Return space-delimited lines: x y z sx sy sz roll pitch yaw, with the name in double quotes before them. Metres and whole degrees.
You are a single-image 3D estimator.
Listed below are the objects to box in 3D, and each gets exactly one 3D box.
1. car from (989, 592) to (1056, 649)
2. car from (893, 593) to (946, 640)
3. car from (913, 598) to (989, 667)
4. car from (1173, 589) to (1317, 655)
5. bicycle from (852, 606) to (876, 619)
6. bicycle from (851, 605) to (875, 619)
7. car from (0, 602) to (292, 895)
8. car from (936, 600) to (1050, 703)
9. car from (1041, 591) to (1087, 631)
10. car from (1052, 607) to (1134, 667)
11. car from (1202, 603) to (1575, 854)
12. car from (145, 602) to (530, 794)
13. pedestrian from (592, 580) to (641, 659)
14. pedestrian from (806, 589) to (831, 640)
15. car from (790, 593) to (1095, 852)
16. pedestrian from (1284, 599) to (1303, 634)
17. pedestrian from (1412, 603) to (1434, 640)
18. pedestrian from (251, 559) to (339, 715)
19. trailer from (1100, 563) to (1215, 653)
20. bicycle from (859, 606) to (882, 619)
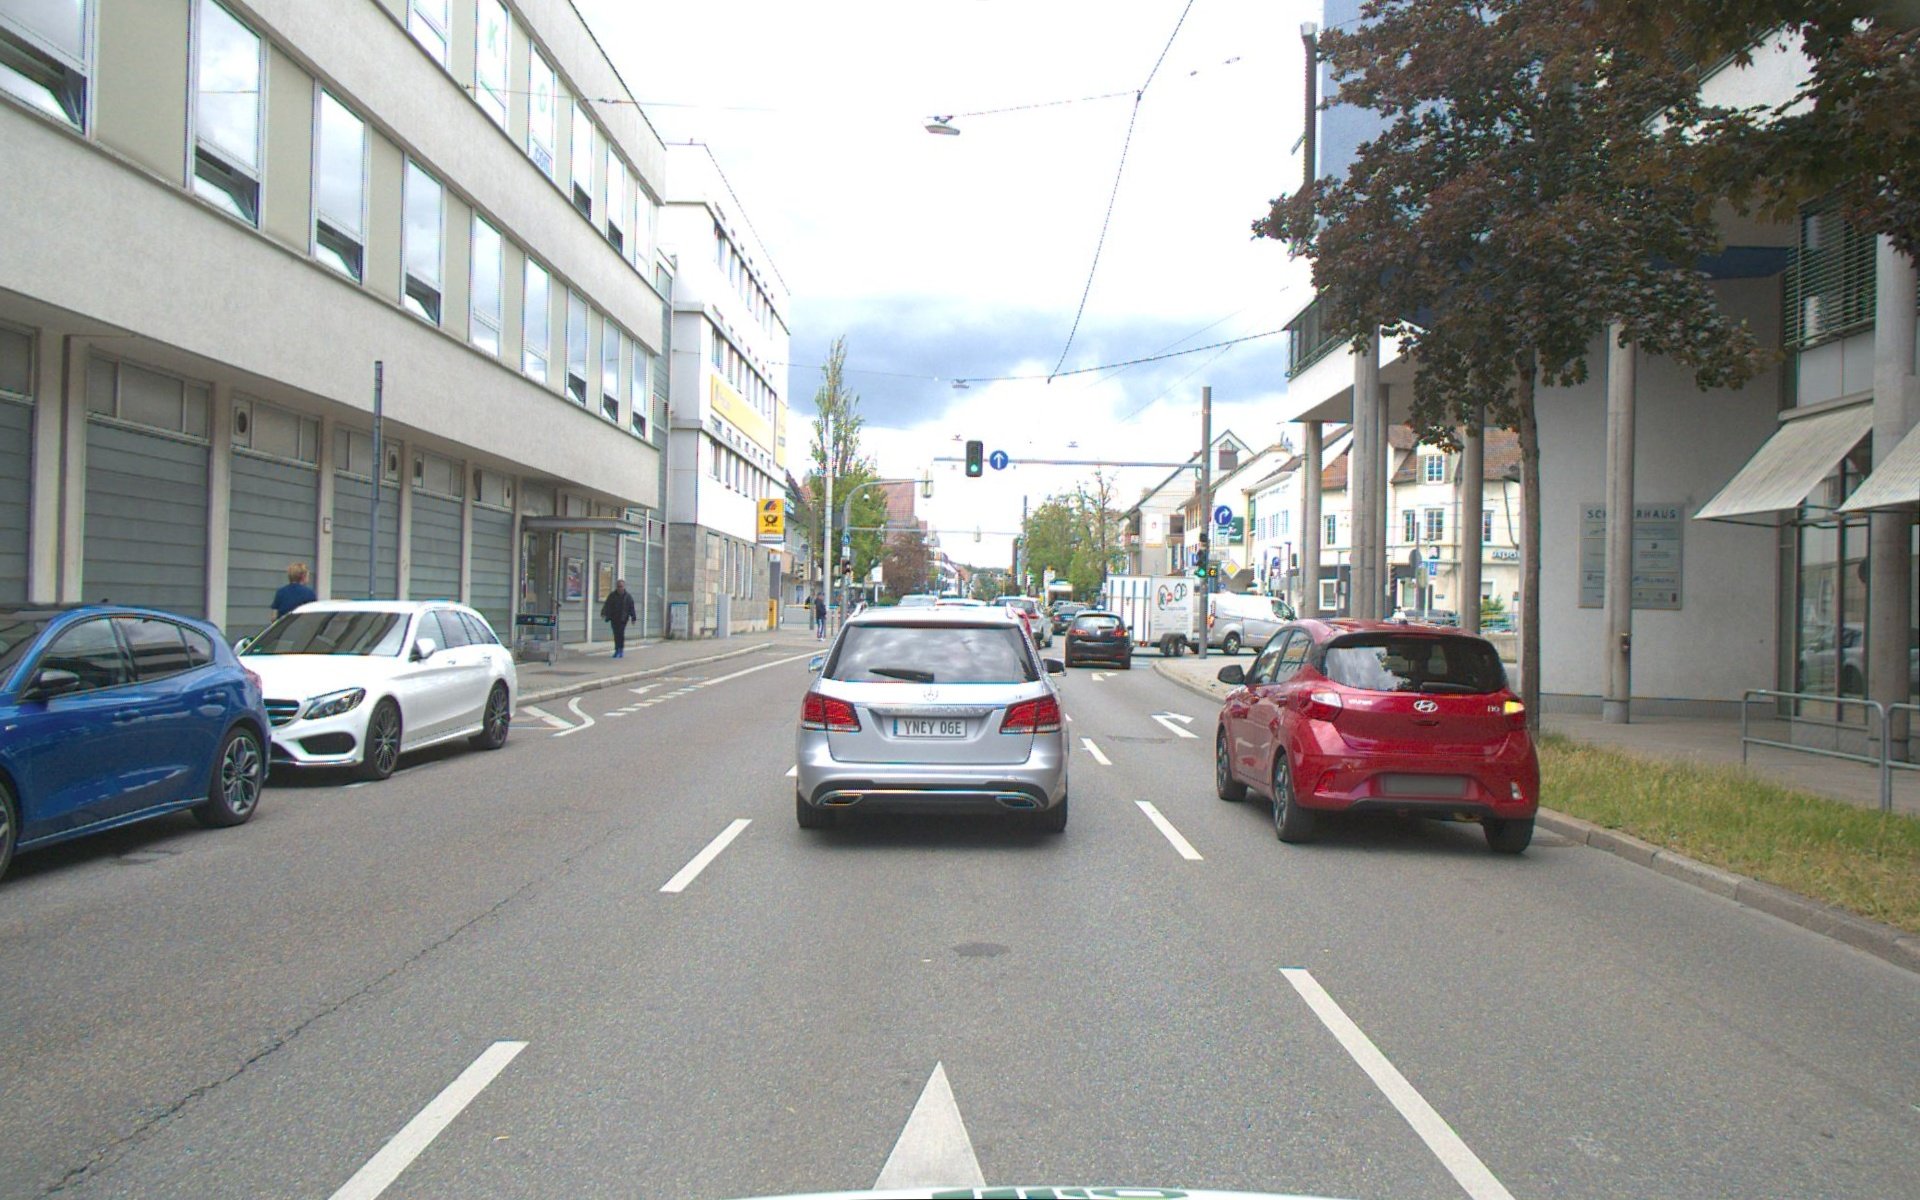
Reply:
"car" 2.119 0.663 55.317 1.697 1.790 4.003 1 0 10
"car" -1.459 0.583 60.752 1.739 1.660 4.768 0 0 1
"car" -0.261 0.735 39.321 1.699 1.534 3.999 1 0 -2
"car" 9.727 0.761 56.320 4.845 1.979 1.862 4 0 -34
"bicycle" -7.947 1.016 136.520 1.902 1.047 0.529 2 -1 -9
"bicycle" -8.075 1.014 137.181 1.902 1.047 0.529 2 -1 -9
"car" -5.623 0.753 9.331 1.777 1.451 4.266 -1 0 3
"car" 0.528 0.777 26.980 1.698 1.534 4.000 1 0 1
"car" 4.872 0.501 77.769 1.791 1.816 3.999 1 0 -1
"car" 3.429 0.927 43.295 1.699 1.435 3.999 1 0 -2
"car" 2.991 0.814 12.400 1.664 1.477 3.999 3 0 -1
"car" -5.418 0.767 15.092 1.635 1.459 4.554 -1 0 2
"pedestrian" -7.770 0.438 37.476 0.844 1.748 1.031 2 0 -2
"pedestrian" -4.884 0.505 57.240 0.634 1.748 0.783 2 0 8
"car" -0.152 0.734 11.991 1.808 1.534 4.170 1 0 -2
"pedestrian" 16.880 0.851 83.691 0.696 1.748 0.642 1 0 -34
"pedestrian" 22.283 1.040 79.584 0.772 1.748 0.648 3 0 31
"pedestrian" -7.643 0.414 19.048 0.577 1.748 1.055 1 0 -2
"trailer" 6.388 0.282 53.083 1.845 2.658 4.310 3 0 33
"bicycle" -7.611 1.044 140.502 1.902 1.047 0.529 2 -1 -9
